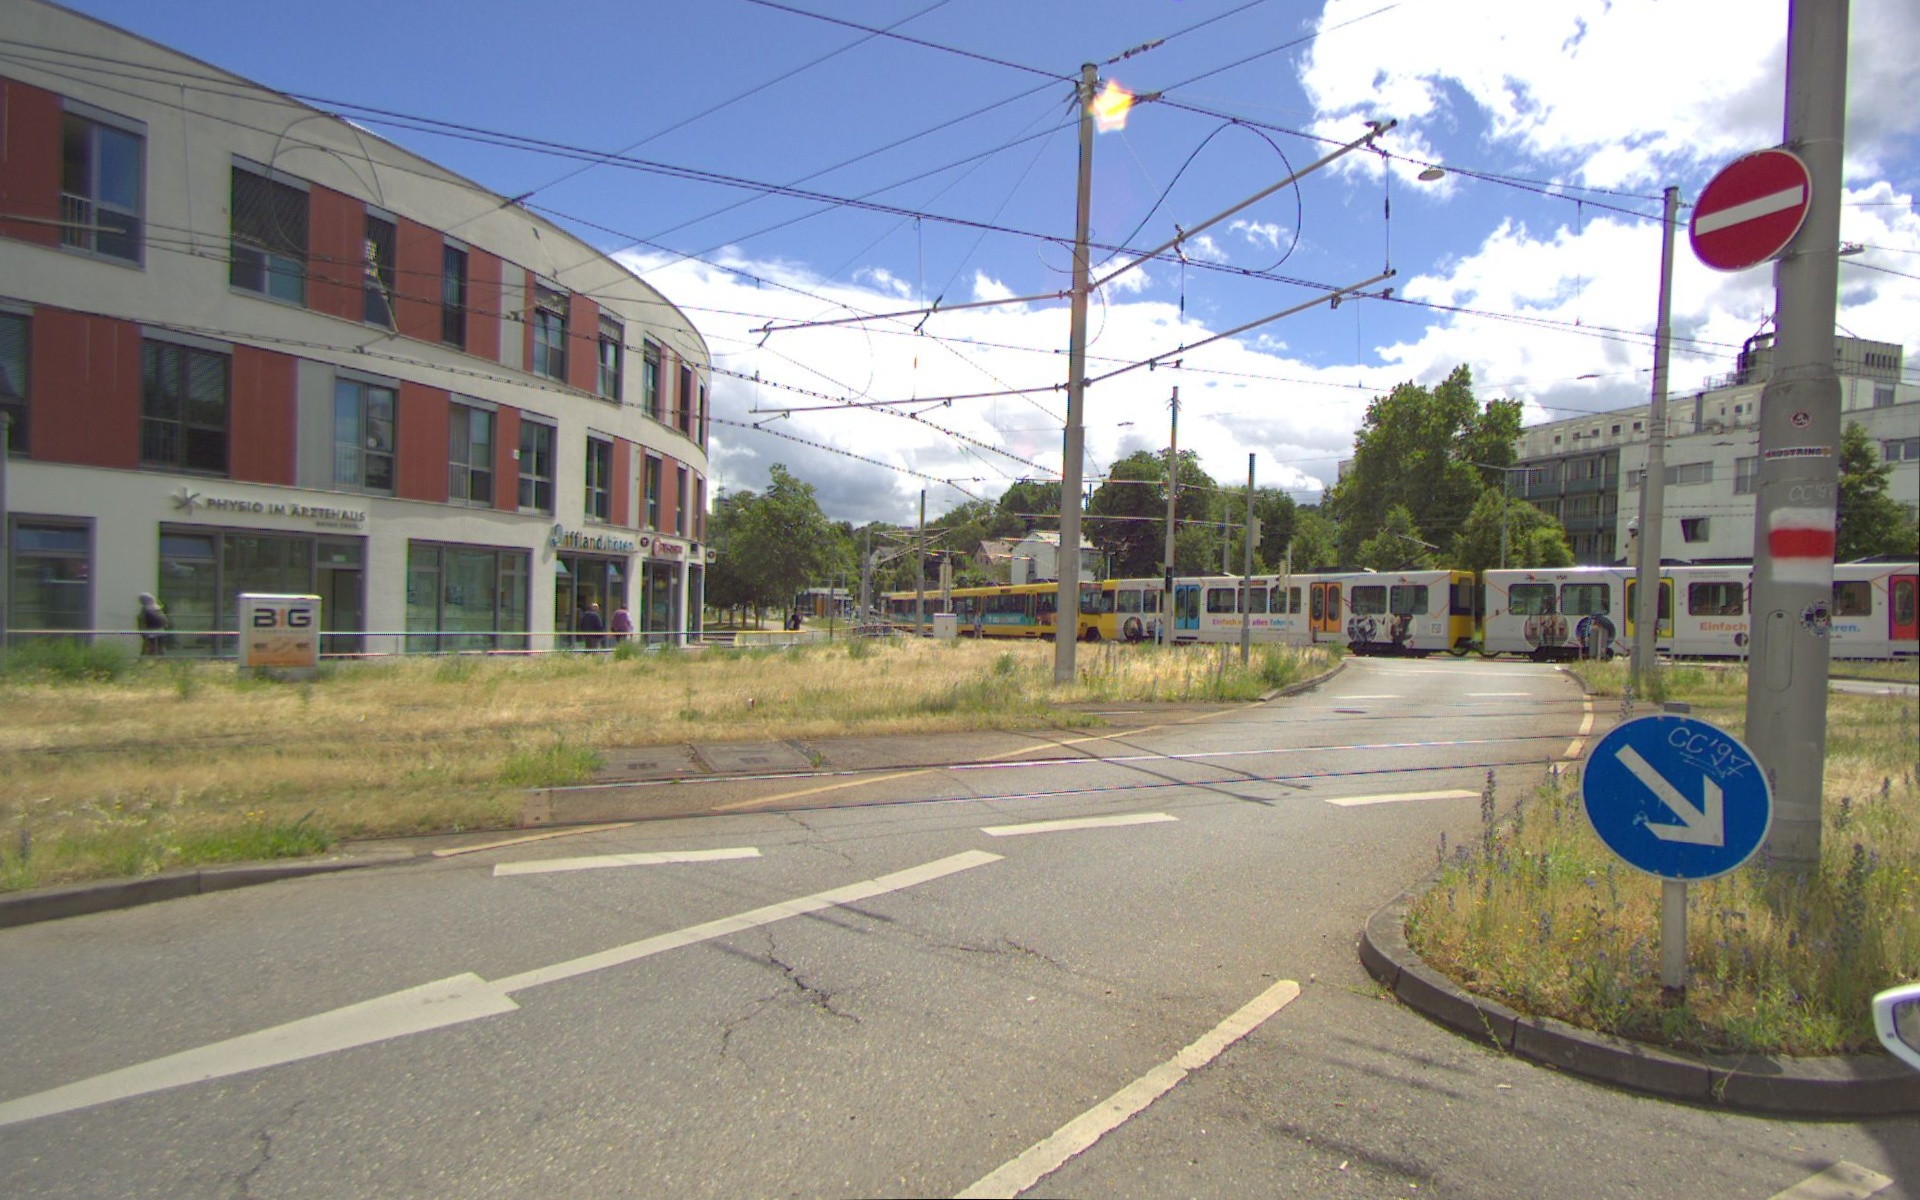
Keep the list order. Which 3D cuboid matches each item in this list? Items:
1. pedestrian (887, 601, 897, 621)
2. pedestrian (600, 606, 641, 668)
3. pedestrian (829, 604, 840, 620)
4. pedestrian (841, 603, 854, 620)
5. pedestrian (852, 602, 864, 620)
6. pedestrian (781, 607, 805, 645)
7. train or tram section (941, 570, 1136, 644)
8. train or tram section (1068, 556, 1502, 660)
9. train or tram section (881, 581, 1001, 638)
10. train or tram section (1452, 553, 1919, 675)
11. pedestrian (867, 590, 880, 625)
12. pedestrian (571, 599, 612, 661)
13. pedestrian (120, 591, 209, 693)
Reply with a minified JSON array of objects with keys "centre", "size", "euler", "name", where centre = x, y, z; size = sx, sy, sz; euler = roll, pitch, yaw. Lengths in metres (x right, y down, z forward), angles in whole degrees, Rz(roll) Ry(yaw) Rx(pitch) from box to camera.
[{"centre":[-7.154,1.164,105.856],"size":[0.807,2.040,0.771],"euler":[2,-1,-15],"name":"pedestrian"},{"centre":[-11.223,1.217,33.213],"size":[0.847,1.994,1.107],"euler":[1,-1,7],"name":"pedestrian"},{"centre":[-16.714,1.581,133.355],"size":[1.241,2.040,1.121],"euler":[2,-1,-19],"name":"pedestrian"},{"centre":[-13.957,1.408,124.569],"size":[1.241,2.040,1.121],"euler":[2,-1,-19],"name":"pedestrian"},{"centre":[-12.161,1.318,119.673],"size":[1.241,2.040,1.121],"euler":[2,-1,-19],"name":"pedestrian"},{"centre":[-7.466,1.159,44.960],"size":[0.847,1.646,0.733],"euler":[1,-1,7],"name":"pedestrian"},{"centre":[4.160,0.543,63.611],"size":[3.707,3.880,20.043],"euler":[2,-2,-22],"name":"train or tram section"},{"centre":[13.806,0.410,47.017],"size":[3.732,3.930,20.390],"euler":[3,-2,-41],"name":"train or tram section"},{"centre":[-1.989,0.845,79.880],"size":[3.704,3.970,18.813],"euler":[2,-2,-20],"name":"train or tram section"},{"centre":[28.200,0.471,35.130],"size":[19.681,3.864,3.757],"euler":[1,-2,28],"name":"train or tram section"},{"centre":[-14.938,1.364,173.213],"size":[1.964,5.998,2.368],"euler":[2,-1,-9],"name":"pedestrian"},{"centre":[-9.670,0.784,26.383],"size":[0.721,1.601,0.691],"euler":[1,0,21],"name":"pedestrian"},{"centre":[-16.030,0.832,20.252],"size":[0.849,1.994,1.114],"euler":[1,-1,29],"name":"pedestrian"}]
